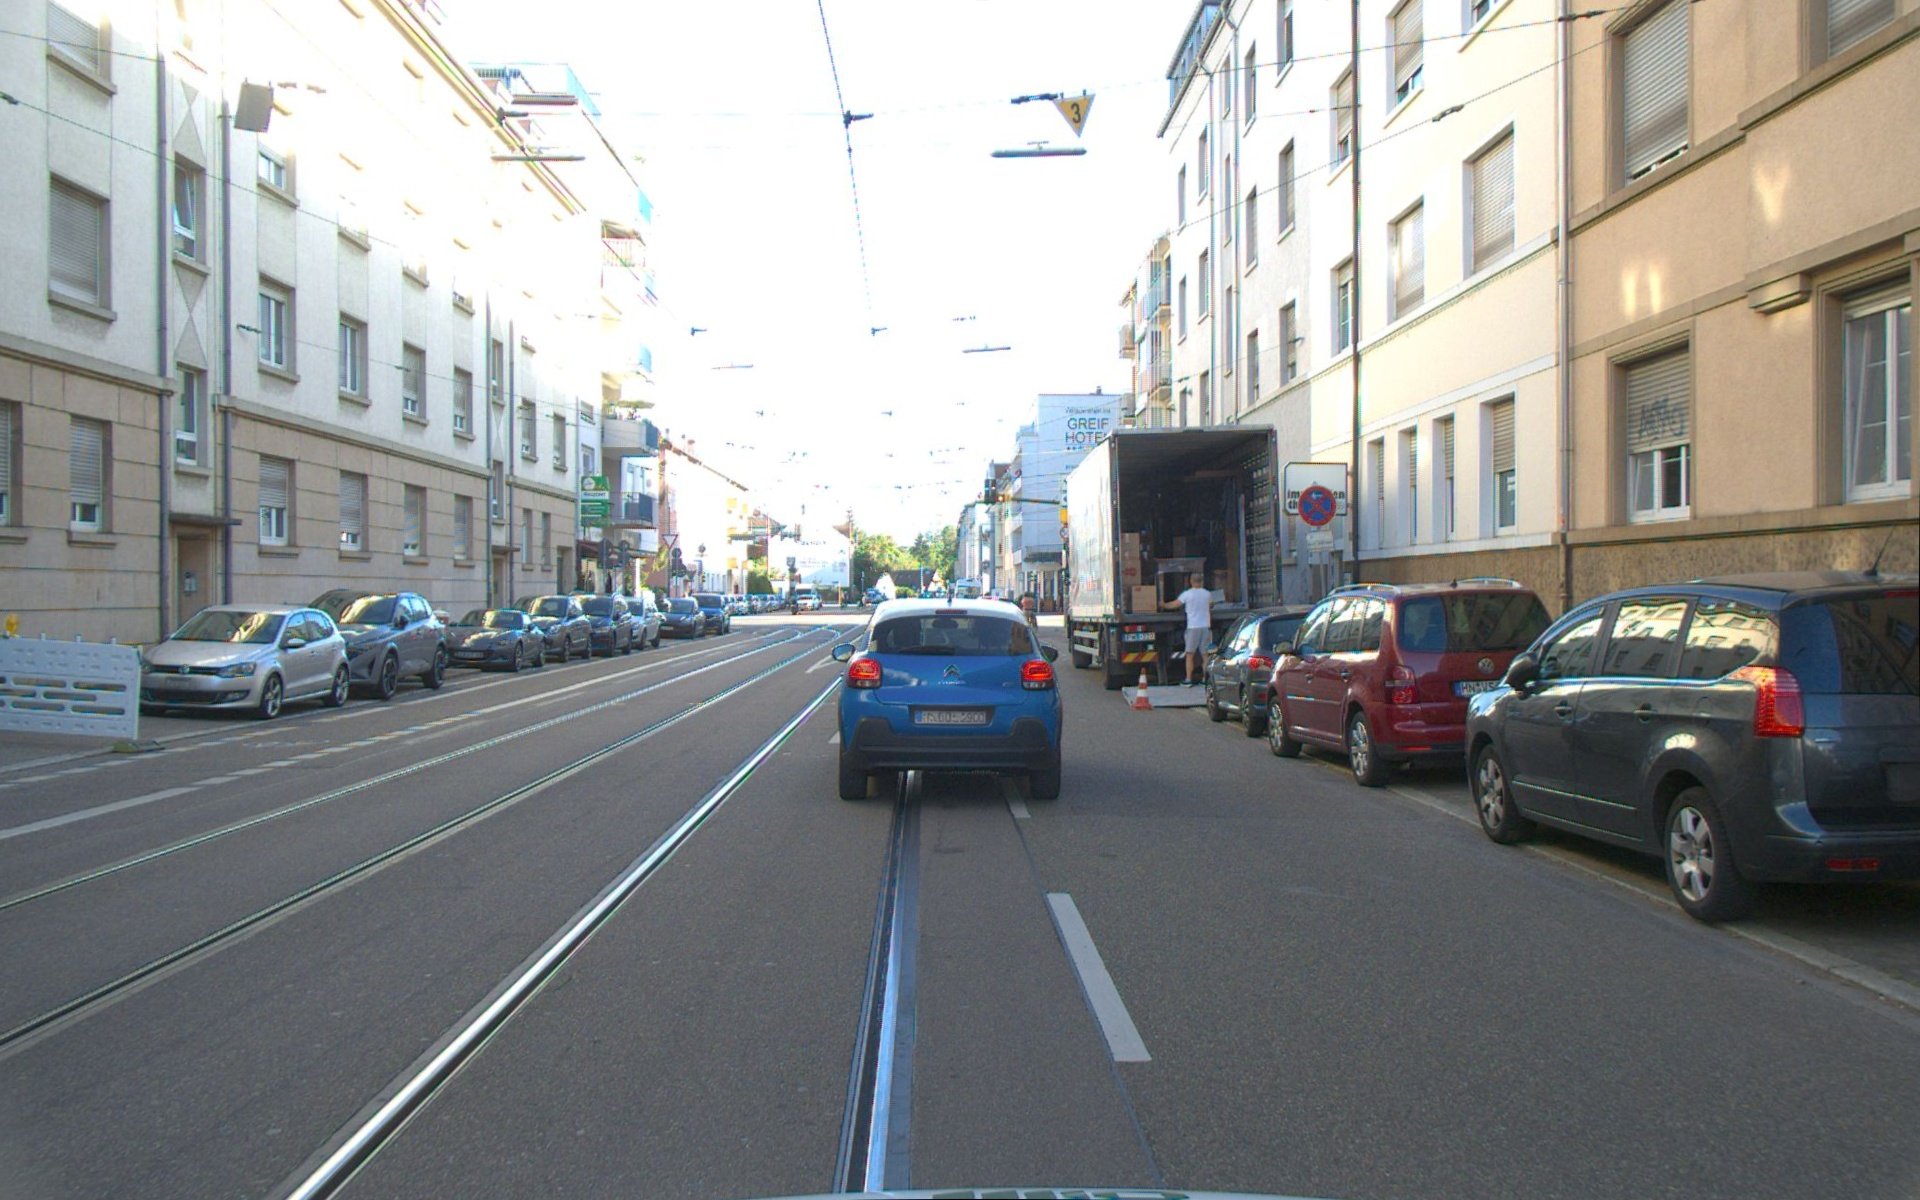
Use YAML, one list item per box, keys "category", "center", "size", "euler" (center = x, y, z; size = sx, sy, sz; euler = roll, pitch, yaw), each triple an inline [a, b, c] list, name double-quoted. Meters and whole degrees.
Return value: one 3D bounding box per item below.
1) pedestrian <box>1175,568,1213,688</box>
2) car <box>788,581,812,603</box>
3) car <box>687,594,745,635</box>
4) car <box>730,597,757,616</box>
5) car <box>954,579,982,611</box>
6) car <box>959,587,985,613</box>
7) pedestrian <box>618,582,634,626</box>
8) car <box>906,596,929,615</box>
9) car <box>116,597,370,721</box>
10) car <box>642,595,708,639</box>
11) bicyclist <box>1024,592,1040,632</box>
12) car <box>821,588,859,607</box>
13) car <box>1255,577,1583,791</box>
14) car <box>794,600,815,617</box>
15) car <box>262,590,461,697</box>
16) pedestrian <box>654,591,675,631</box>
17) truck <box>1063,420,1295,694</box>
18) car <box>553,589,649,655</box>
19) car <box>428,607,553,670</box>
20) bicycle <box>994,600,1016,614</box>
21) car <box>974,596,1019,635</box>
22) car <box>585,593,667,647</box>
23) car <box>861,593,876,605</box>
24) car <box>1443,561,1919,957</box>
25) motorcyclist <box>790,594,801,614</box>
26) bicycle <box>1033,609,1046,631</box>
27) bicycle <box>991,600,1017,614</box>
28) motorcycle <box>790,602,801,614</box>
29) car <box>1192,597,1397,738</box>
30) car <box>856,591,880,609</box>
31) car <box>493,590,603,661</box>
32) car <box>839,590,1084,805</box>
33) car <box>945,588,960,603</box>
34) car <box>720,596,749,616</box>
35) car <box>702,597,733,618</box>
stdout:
- category: "pedestrian"
  center: [3.559, 0.425, 25.153]
  size: [0.502, 1.806, 0.415]
  euler: [-1, 0, -1]
- category: "car"
  center: [-16.599, -0.838, 171.859]
  size: [2.162, 2.290, 4.675]
  euler: [0, 0, -2]
- category: "car"
  center: [-9.758, 0.577, 66.371]
  size: [1.709, 1.536, 3.999]
  euler: [2, 0, -1]
- category: "car"
  center: [-17.941, 0.561, 137.061]
  size: [1.872, 1.523, 3.998]
  euler: [0, 0, -2]
- category: "car"
  center: [0.574, -0.358, 122.894]
  size: [1.953, 2.366, 3.999]
  euler: [1, 0, -1]
- category: "car"
  center: [0.832, -0.012, 117.964]
  size: [1.697, 1.780, 3.213]
  euler: [1, 0, -1]
- category: "pedestrian"
  center: [-15.423, 0.174, 76.373]
  size: [0.673, 2.049, 0.486]
  euler: [0, 0, -4]
- category: "car"
  center: [-3.794, 0.471, 148.461]
  size: [1.953, 1.646, 3.999]
  euler: [1, 0, -1]
- category: "car"
  center: [-9.570, 0.748, 22.431]
  size: [1.665, 1.440, 3.999]
  euler: [3, -1, -1]
- category: "car"
  center: [-10.344, 0.614, 60.310]
  size: [1.665, 1.536, 4.311]
  euler: [2, 0, -1]
- category: "bicyclist"
  center: [3.067, 0.513, 70.507]
  size: [0.711, 1.674, 0.790]
  euler: [0, 0, 2]
- category: "car"
  center: [-11.081, -0.247, 152.216]
  size: [1.792, 1.668, 3.954]
  euler: [0, 0, -33]
- category: "car"
  center: [3.998, 0.648, 15.135]
  size: [1.560, 1.637, 4.244]
  euler: [-1, 0, -4]
- category: "car"
  center: [-14.624, 0.812, 155.933]
  size: [1.813, 1.601, 4.398]
  euler: [0, 0, -3]
- category: "car"
  center: [-9.618, 0.638, 26.956]
  size: [1.665, 1.595, 4.405]
  euler: [-1, 0, -1]
- category: "pedestrian"
  center: [-11.766, 0.429, 65.808]
  size: [0.683, 1.575, 0.721]
  euler: [0, 1, 2]
- category: "truck"
  center: [3.714, -0.691, 31.146]
  size: [2.801, 4.144, 11.778]
  euler: [-1, 0, 0]
- category: "car"
  center: [-9.600, 0.587, 44.503]
  size: [1.665, 1.644, 4.243]
  euler: [2, 0, -1]
- category: "car"
  center: [-9.898, 0.786, 35.103]
  size: [1.665, 1.237, 3.784]
  euler: [2, 0, -2]
- category: "bicycle"
  center: [3.156, 0.524, 116.345]
  size: [1.472, 0.973, 0.702]
  euler: [0, 0, 3]
- category: "car"
  center: [1.425, 0.573, 63.829]
  size: [1.702, 1.445, 4.001]
  euler: [0, 0, 2]
- category: "car"
  center: [-10.061, 0.591, 50.137]
  size: [1.665, 1.536, 4.385]
  euler: [2, 0, -2]
- category: "car"
  center: [-12.171, -0.107, 220.389]
  size: [1.980, 1.552, 3.998]
  euler: [0, 0, -2]
- category: "car"
  center: [4.327, 0.655, 9.307]
  size: [1.754, 1.680, 4.364]
  euler: [-1, 0, -3]
- category: "motorcyclist"
  center: [-11.736, 0.272, 117.995]
  size: [0.704, 1.402, 0.912]
  euler: [0, 0, 2]
- category: "bicycle"
  center: [3.377, 0.846, 70.390]
  size: [0.488, 0.879, 1.749]
  euler: [0, 0, 0]
- category: "bicycle"
  center: [3.101, 0.524, 117.408]
  size: [1.834, 0.973, 0.702]
  euler: [0, 0, 3]
- category: "motorcycle"
  center: [-11.741, 0.564, 118.149]
  size: [0.603, 0.879, 1.671]
  euler: [0, 0, 2]
- category: "car"
  center: [3.940, 0.738, 20.053]
  size: [1.551, 1.489, 3.879]
  euler: [-1, 0, -2]
- category: "car"
  center: [-7.913, 0.010, 142.253]
  size: [1.953, 1.534, 3.999]
  euler: [0, 0, -1]
- category: "car"
  center: [-9.953, 0.611, 40.199]
  size: [1.665, 1.596, 3.999]
  euler: [2, 0, -1]
- category: "car"
  center: [-0.119, 0.684, 13.671]
  size: [1.709, 1.488, 3.997]
  euler: [1, 0, -4]
- category: "car"
  center: [-0.825, -0.501, 181.796]
  size: [1.654, 1.646, 3.999]
  euler: [1, 0, 0]
- category: "car"
  center: [-17.725, 0.490, 130.266]
  size: [1.872, 1.523, 3.998]
  euler: [0, 0, -2]
- category: "car"
  center: [-17.582, 0.528, 119.901]
  size: [1.873, 1.458, 3.997]
  euler: [0, 0, -3]
